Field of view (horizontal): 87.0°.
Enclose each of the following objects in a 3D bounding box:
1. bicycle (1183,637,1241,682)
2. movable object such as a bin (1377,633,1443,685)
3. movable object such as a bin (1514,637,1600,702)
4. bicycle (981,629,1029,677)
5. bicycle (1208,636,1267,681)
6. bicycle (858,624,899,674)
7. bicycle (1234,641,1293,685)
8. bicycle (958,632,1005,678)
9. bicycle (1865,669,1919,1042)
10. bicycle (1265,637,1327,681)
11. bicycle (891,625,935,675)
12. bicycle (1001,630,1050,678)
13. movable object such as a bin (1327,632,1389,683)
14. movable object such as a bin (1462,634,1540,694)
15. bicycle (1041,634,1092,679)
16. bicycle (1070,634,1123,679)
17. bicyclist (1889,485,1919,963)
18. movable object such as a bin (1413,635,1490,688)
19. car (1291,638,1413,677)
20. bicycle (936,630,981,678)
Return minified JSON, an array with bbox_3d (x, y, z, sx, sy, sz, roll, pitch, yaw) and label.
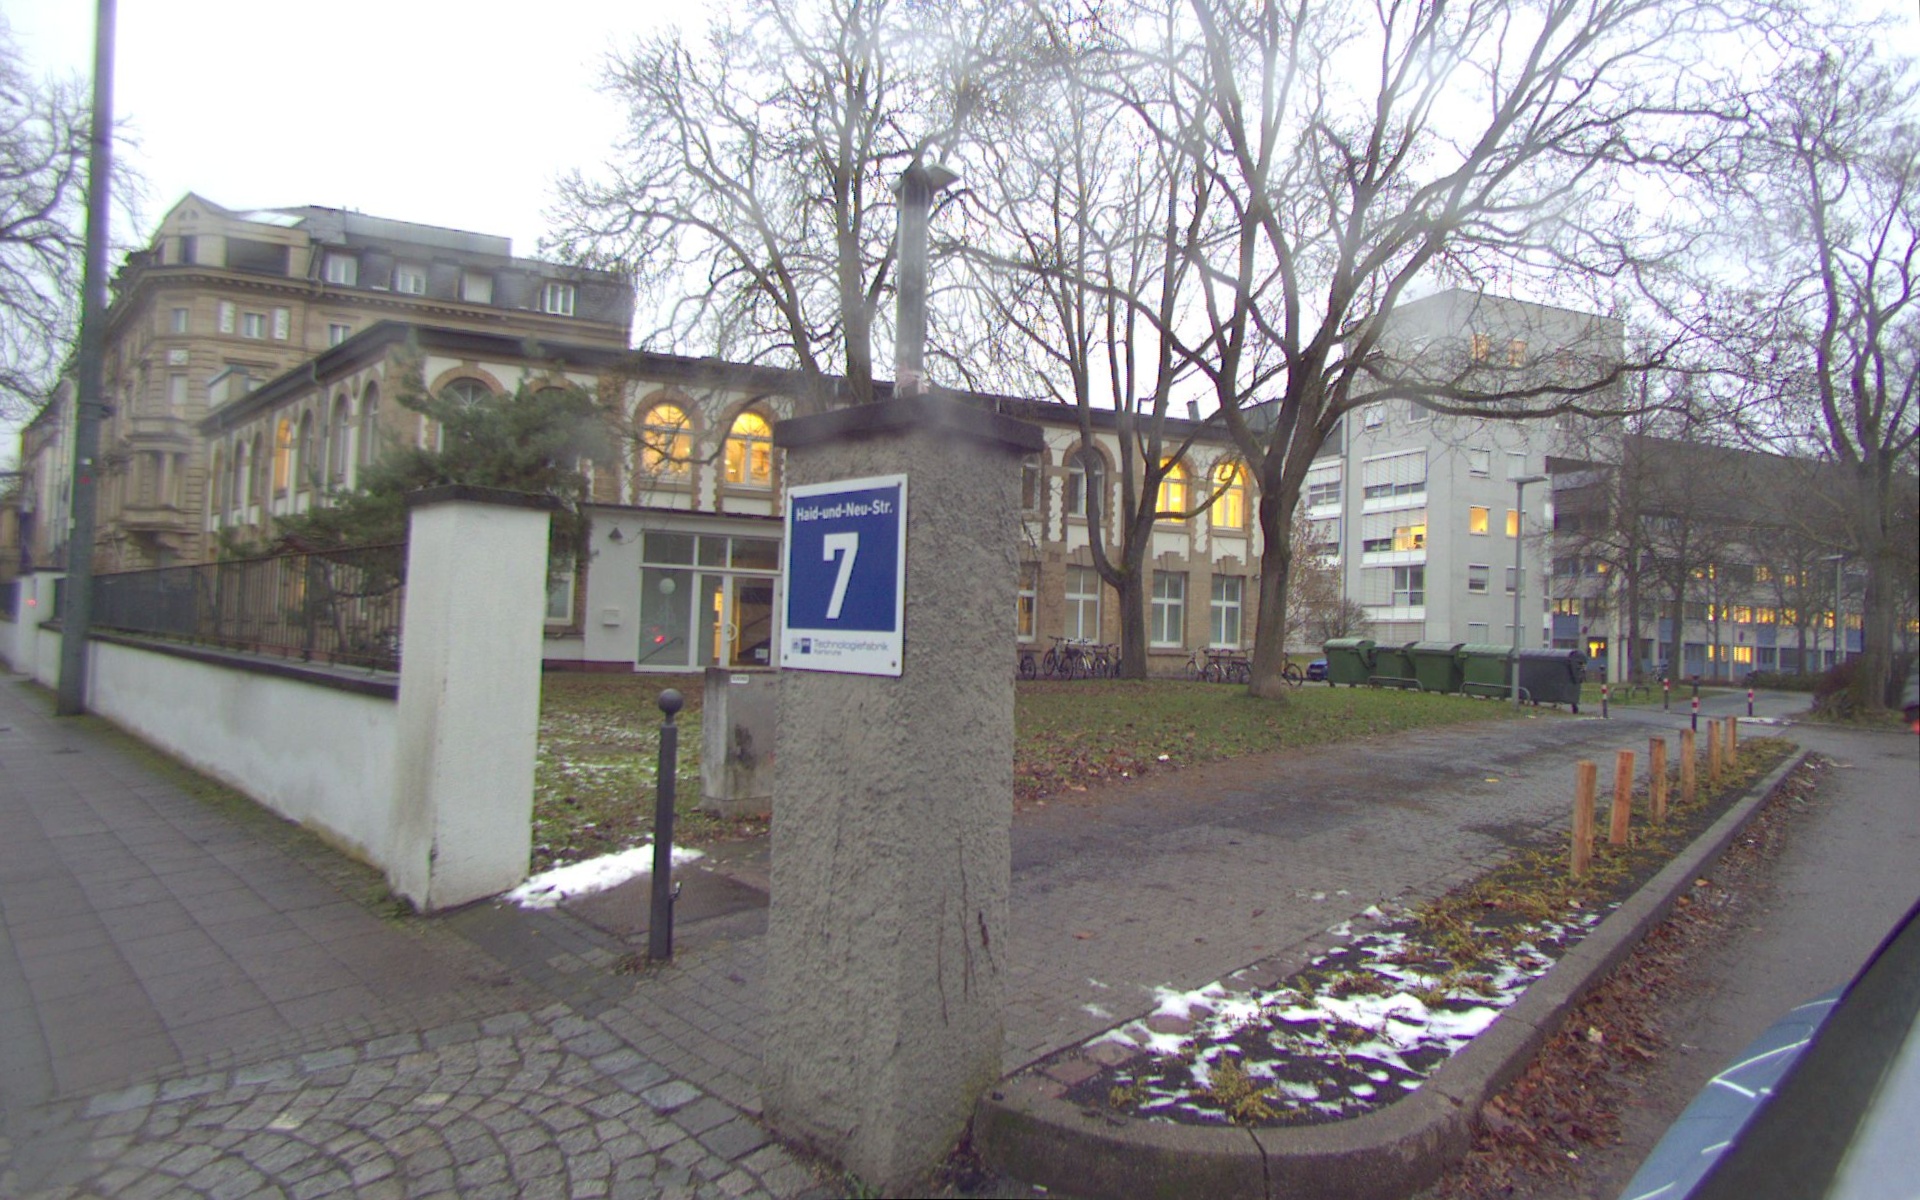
[{"bbox_3d":[7.177,1.669,28.895,0.561,1.172,2.146,2,-1,-17],"label":"bicycle"},{"bbox_3d":[11.879,1.545,26.727,0.967,1.296,1.254,2,-1,-24],"label":"movable object such as a bin"},{"bbox_3d":[13.390,1.530,22.707,1.043,1.333,1.324,2,0,-36],"label":"movable object such as a bin"},{"bbox_3d":[1.158,1.383,26.776,0.561,1.172,2.146,2,-1,-17],"label":"bicycle"},{"bbox_3d":[7.992,1.671,29.208,0.561,1.172,2.146,2,-1,-17],"label":"bicycle"},{"bbox_3d":[-2.086,1.206,25.540,0.561,1.172,2.146,2,-1,-17],"label":"bicycle"},{"bbox_3d":[8.861,1.825,29.637,0.561,1.172,2.146,2,-1,-17],"label":"bicycle"},{"bbox_3d":[0.540,1.419,26.590,0.561,1.029,2.146,2,1,-17],"label":"bicycle"},{"bbox_3d":[3.880,0.856,3.653,1.861,1.147,0.729,3,-2,-42],"label":"bicycle"},{"bbox_3d":[9.841,1.715,29.729,0.561,1.172,2.146,2,-1,-17],"label":"bicycle"},{"bbox_3d":[-1.220,1.257,25.817,0.561,1.172,2.146,2,-1,-17],"label":"bicycle"},{"bbox_3d":[1.733,1.425,26.966,0.561,1.172,2.146,2,-1,-17],"label":"bicycle"},{"bbox_3d":[11.003,1.587,28.017,0.967,1.331,1.266,2,-1,-24],"label":"movable object such as a bin"},{"bbox_3d":[12.822,1.513,24.019,0.967,1.331,1.310,2,-1,-24],"label":"movable object such as a bin"},{"bbox_3d":[2.868,1.504,27.400,0.561,1.106,2.146,2,-1,-17],"label":"bicycle"},{"bbox_3d":[3.707,1.526,27.706,0.561,1.125,2.146,2,-1,-17],"label":"bicycle"},{"bbox_3d":[3.903,0.456,3.677,0.758,1.711,0.705,3,-2,-42],"label":"bicyclist"},{"bbox_3d":[12.314,1.535,25.381,0.967,1.241,1.441,2,-1,-24],"label":"movable object such as a bin"},{"bbox_3d":[15.084,2.197,38.997,3.916,1.297,2.004,2,-1,-13],"label":"car"},{"bbox_3d":[-0.064,1.388,26.386,0.561,1.063,2.146,2,1,-17],"label":"bicycle"}]
